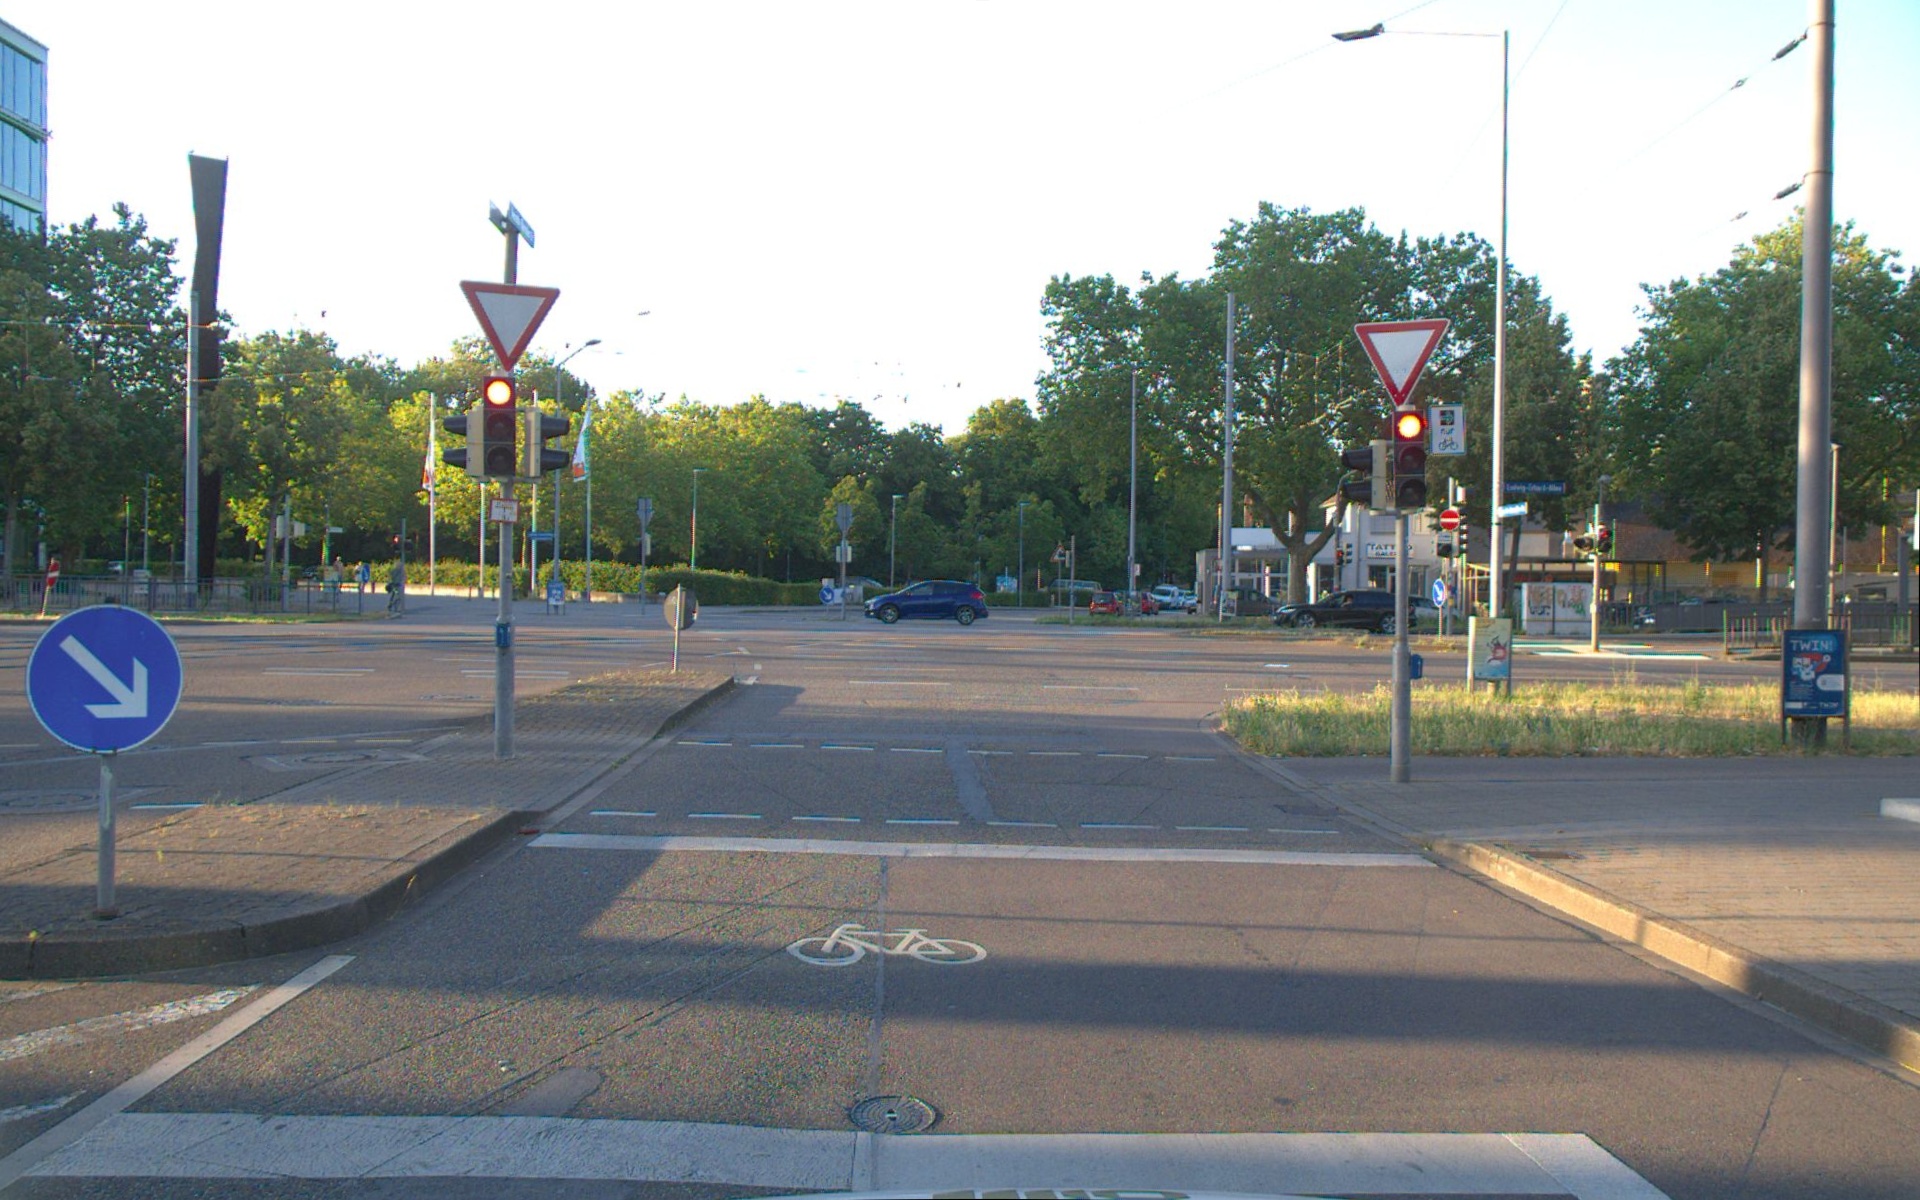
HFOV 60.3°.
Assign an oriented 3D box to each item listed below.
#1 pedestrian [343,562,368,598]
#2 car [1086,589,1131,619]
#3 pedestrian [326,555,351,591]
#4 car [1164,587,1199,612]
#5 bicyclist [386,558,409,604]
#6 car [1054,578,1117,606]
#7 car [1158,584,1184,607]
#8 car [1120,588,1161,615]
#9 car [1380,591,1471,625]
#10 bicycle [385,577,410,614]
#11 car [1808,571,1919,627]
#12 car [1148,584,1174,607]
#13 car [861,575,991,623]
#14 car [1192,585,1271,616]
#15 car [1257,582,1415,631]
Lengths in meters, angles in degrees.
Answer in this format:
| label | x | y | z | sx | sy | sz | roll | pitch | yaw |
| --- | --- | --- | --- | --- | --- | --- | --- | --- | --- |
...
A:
| label | x | y | z | sx | sy | sz | roll | pitch | yaw |
| --- | --- | --- | --- | --- | --- | --- | --- | --- | --- |
| pedestrian | -30.428 | -1.006 | 83.215 | 0.843 | 1.774 | 0.829 | 1 | 0 | 27 |
| car | 8.625 | 0.234 | 95.807 | 1.951 | 1.691 | 4.003 | 0 | -1 | 14 |
| pedestrian | -30.863 | -1.355 | 82.102 | 0.845 | 1.774 | 0.827 | 1 | 0 | 34 |
| car | 15.559 | -0.047 | 115.829 | 1.951 | 1.691 | 4.003 | 0 | -1 | 14 |
| bicyclist | -21.513 | -0.726 | 63.256 | 0.740 | 1.739 | 0.914 | 1 | 0 | -22 |
| car | 9.512 | -0.571 | 126.021 | 4.675 | 2.041 | 2.000 | 1 | -1 | 1 |
| car | 17.411 | -0.333 | 136.347 | 1.823 | 1.825 | 4.003 | 0 | -1 | 12 |
| car | 11.323 | 0.109 | 103.537 | 1.951 | 1.691 | 4.003 | 0 | -1 | 14 |
| car | 20.367 | 0.356 | 72.463 | 3.659 | 1.465 | 1.665 | 1 | -1 | 9 |
| bicycle | -21.484 | -0.191 | 63.141 | 0.720 | 1.364 | 2.673 | 1 | 1 | -22 |
| car | 43.665 | -0.055 | 78.691 | 5.476 | 2.596 | 2.231 | 1 | 0 | 7 |
| car | 16.002 | -0.344 | 131.431 | 1.823 | 1.825 | 4.003 | 1 | -1 | 10 |
| car | -1.128 | -0.023 | 56.766 | 4.380 | 1.579 | 2.000 | 1 | -1 | 0 |
| car | 14.657 | 0.037 | 89.383 | 4.129 | 1.579 | 2.001 | 1 | -1 | 7 |
| car | 12.964 | 0.231 | 57.200 | 4.997 | 1.579 | 1.999 | 1 | -1 | -2 |
